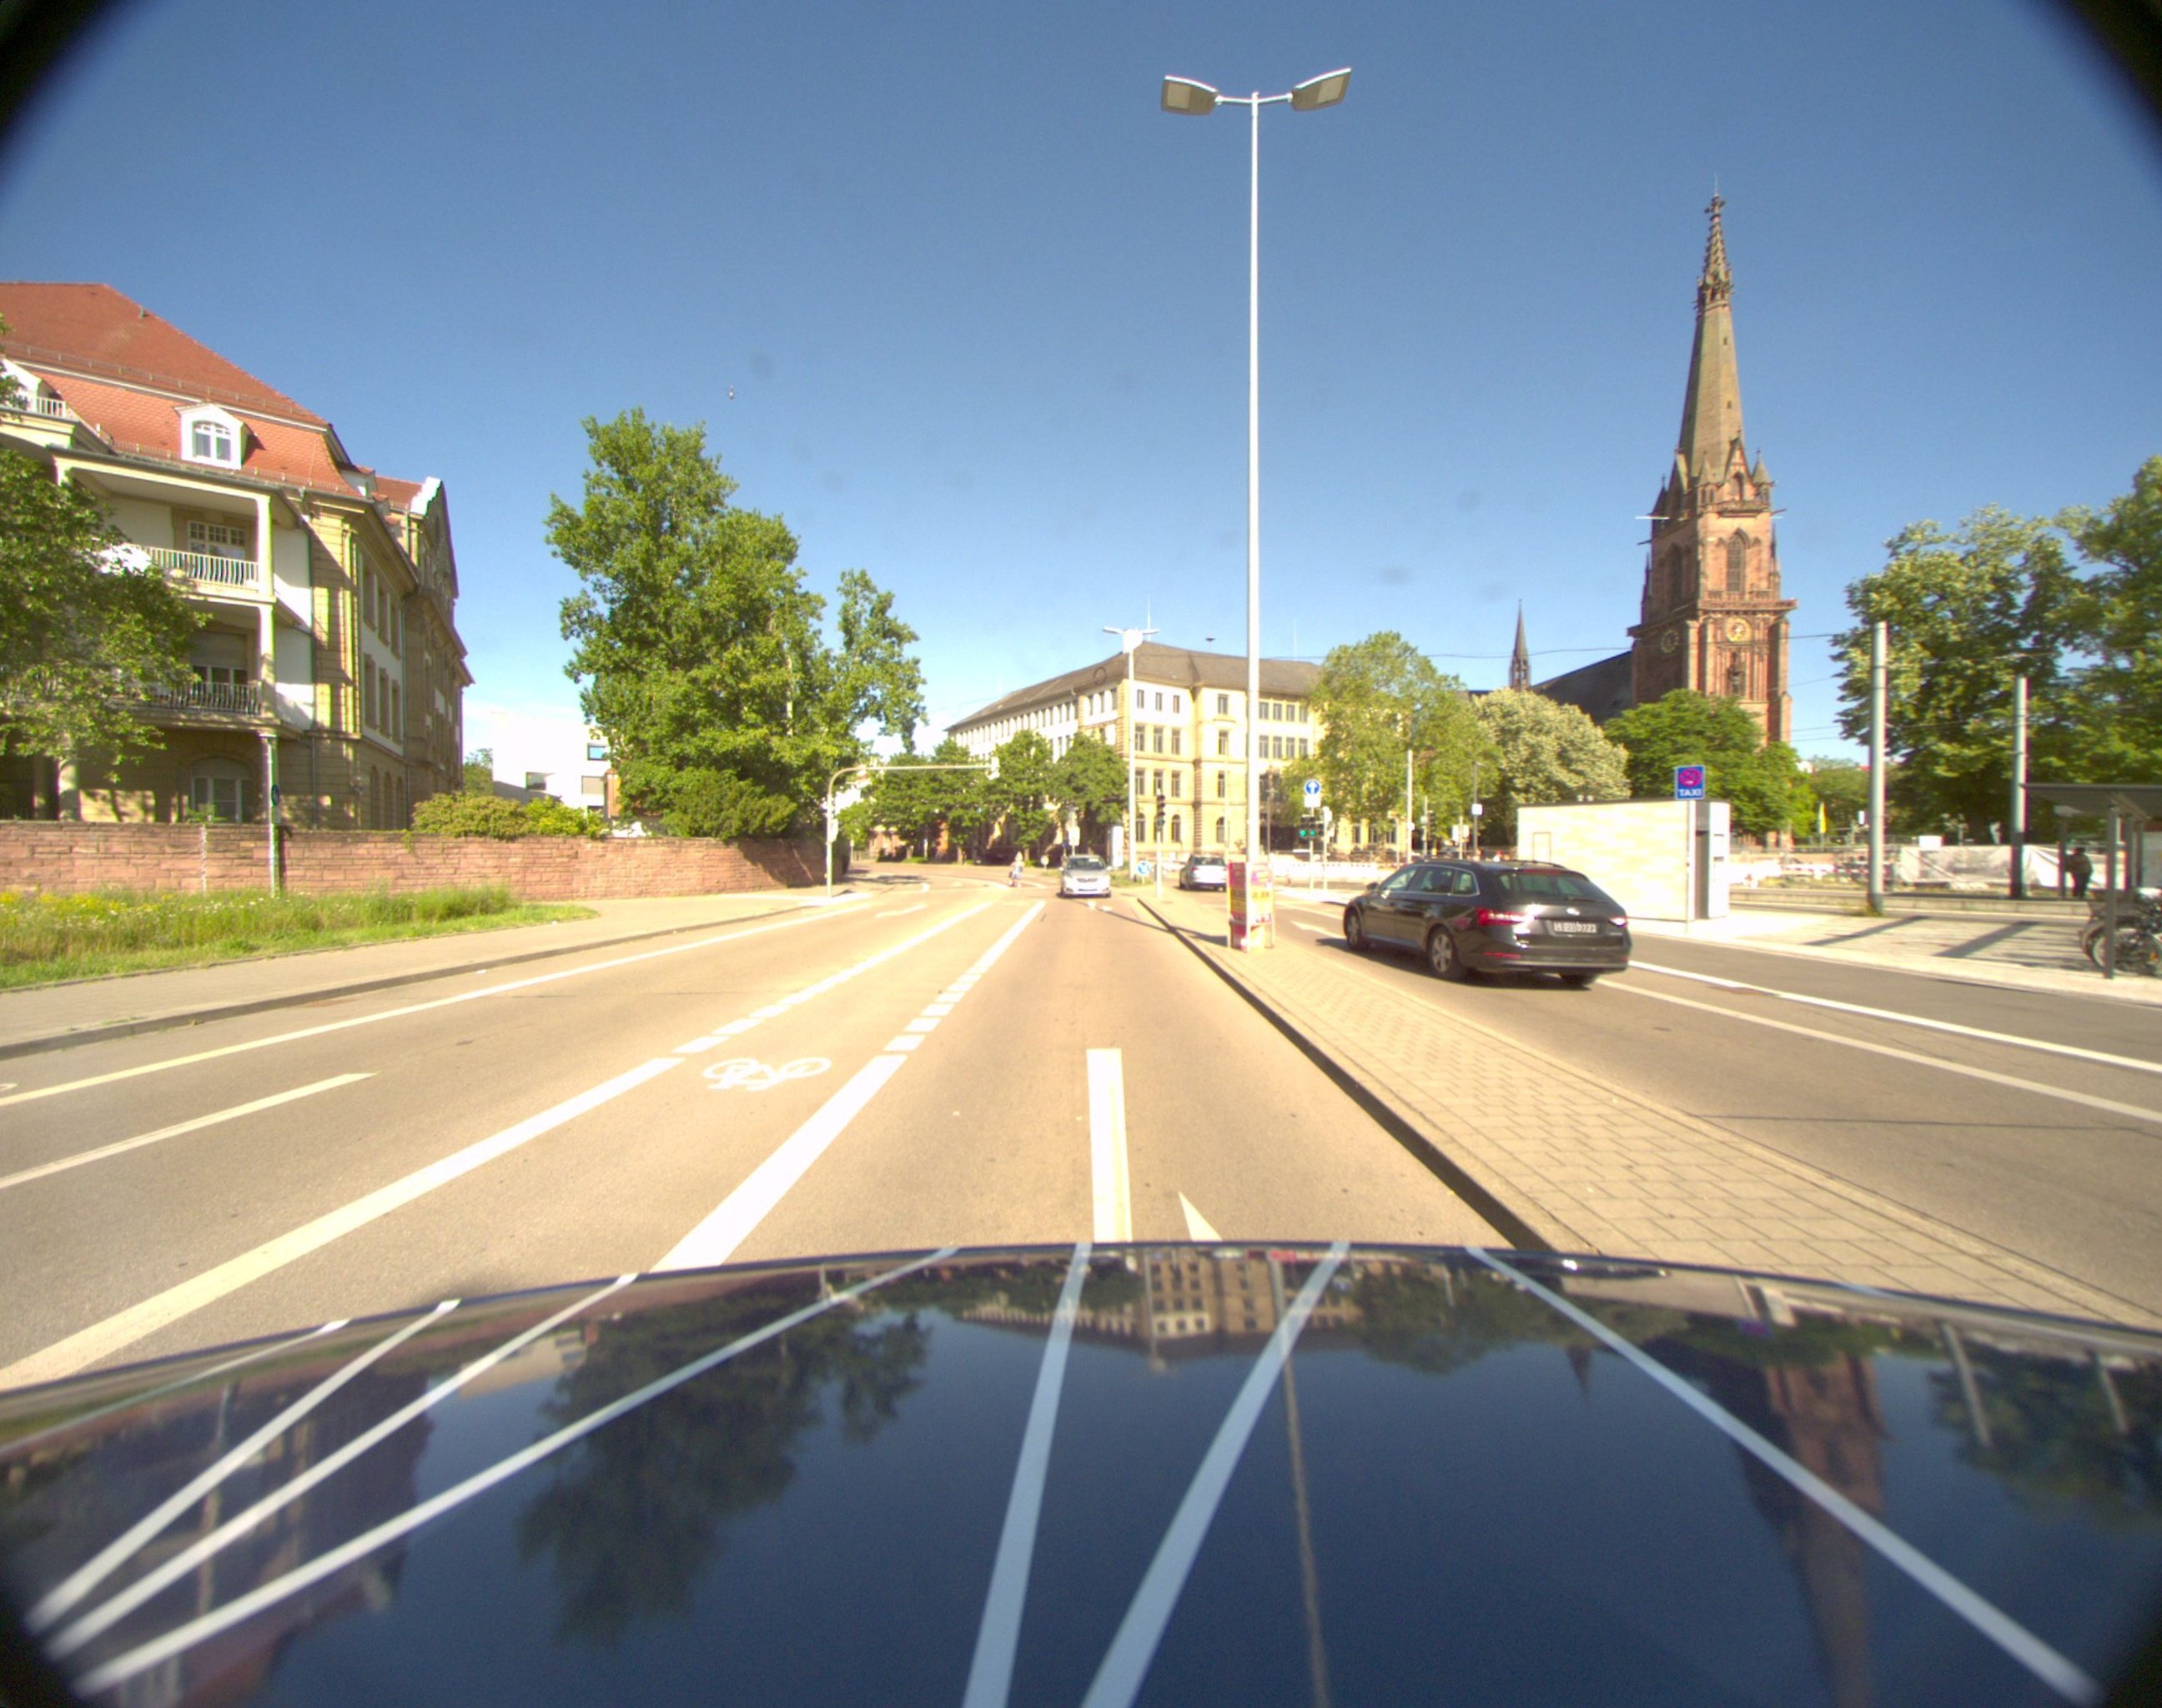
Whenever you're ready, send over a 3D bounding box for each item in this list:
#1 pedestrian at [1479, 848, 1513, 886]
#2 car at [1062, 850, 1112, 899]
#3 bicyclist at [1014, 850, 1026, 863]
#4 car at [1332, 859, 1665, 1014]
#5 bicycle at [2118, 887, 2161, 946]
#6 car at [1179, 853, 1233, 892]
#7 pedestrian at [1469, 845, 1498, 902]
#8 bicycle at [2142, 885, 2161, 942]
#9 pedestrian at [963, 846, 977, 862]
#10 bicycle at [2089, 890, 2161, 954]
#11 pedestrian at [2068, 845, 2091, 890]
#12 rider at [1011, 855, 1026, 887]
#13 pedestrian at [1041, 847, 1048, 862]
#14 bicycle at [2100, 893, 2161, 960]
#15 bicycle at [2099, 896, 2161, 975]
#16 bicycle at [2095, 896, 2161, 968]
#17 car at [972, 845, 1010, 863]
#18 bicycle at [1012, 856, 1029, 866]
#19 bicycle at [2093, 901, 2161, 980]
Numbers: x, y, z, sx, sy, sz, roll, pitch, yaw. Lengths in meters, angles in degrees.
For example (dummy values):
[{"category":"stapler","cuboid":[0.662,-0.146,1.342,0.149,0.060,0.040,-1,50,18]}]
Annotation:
[{"category":"pedestrian","cuboid":[19.339,0.593,35.435,0.977,1.769,1.131,0,1,-1]},{"category":"car","cuboid":[0.160,0.721,28.532,1.706,1.657,3.913,-1,1,-1]},{"category":"bicyclist","cuboid":[-6.189,0.262,77.062,0.893,1.377,0.735,1,1,44]},{"category":"car","cuboid":[5.038,0.862,10.078,1.793,1.490,4.574,1,1,-1]},{"category":"bicycle","cuboid":[19.120,1.100,12.947,0.458,1.003,1.667,-1,1,-33]},{"category":"car","cuboid":[5.378,0.747,33.191,1.859,1.533,4.241,1,1,3]},{"category":"pedestrian","cuboid":[13.234,0.623,25.000,0.693,1.844,0.679,0,1,12]},{"category":"bicycle","cuboid":[19.887,1.077,13.198,0.458,1.003,1.667,-1,1,-33]},{"category":"pedestrian","cuboid":[-13.316,-0.016,90.974,0.934,1.812,1.394,1,1,45]},{"category":"bicycle","cuboid":[17.906,1.129,12.426,0.458,1.003,1.667,-1,1,-33]},{"category":"pedestrian","cuboid":[37.564,0.502,28.576,0.404,1.711,0.419,1,1,38]},{"category":"rider","cuboid":[-3.229,0.878,39.547,0.658,1.610,0.989,-1,1,1]},{"category":"pedestrian","cuboid":[-4.157,0.008,86.336,0.677,1.714,0.588,-1,1,-22]},{"category":"bicycle","cuboid":[17.253,1.149,11.653,0.458,1.003,1.899,-1,1,-33]},{"category":"bicycle","cuboid":[15.193,1.141,10.278,0.458,1.055,1.667,-1,1,-33]},{"category":"bicycle","cuboid":[16.066,1.159,10.975,0.458,1.003,1.667,-1,1,-33]},{"category":"car","cuboid":[-10.733,-0.033,90.760,1.994,2.002,4.721,0,1,32]},{"category":"bicycle","cuboid":[-6.159,0.654,77.052,1.830,0.985,0.735,0,1,44]},{"category":"bicycle","cuboid":[14.692,1.173,9.963,0.458,1.003,1.667,-1,1,-33]}]
